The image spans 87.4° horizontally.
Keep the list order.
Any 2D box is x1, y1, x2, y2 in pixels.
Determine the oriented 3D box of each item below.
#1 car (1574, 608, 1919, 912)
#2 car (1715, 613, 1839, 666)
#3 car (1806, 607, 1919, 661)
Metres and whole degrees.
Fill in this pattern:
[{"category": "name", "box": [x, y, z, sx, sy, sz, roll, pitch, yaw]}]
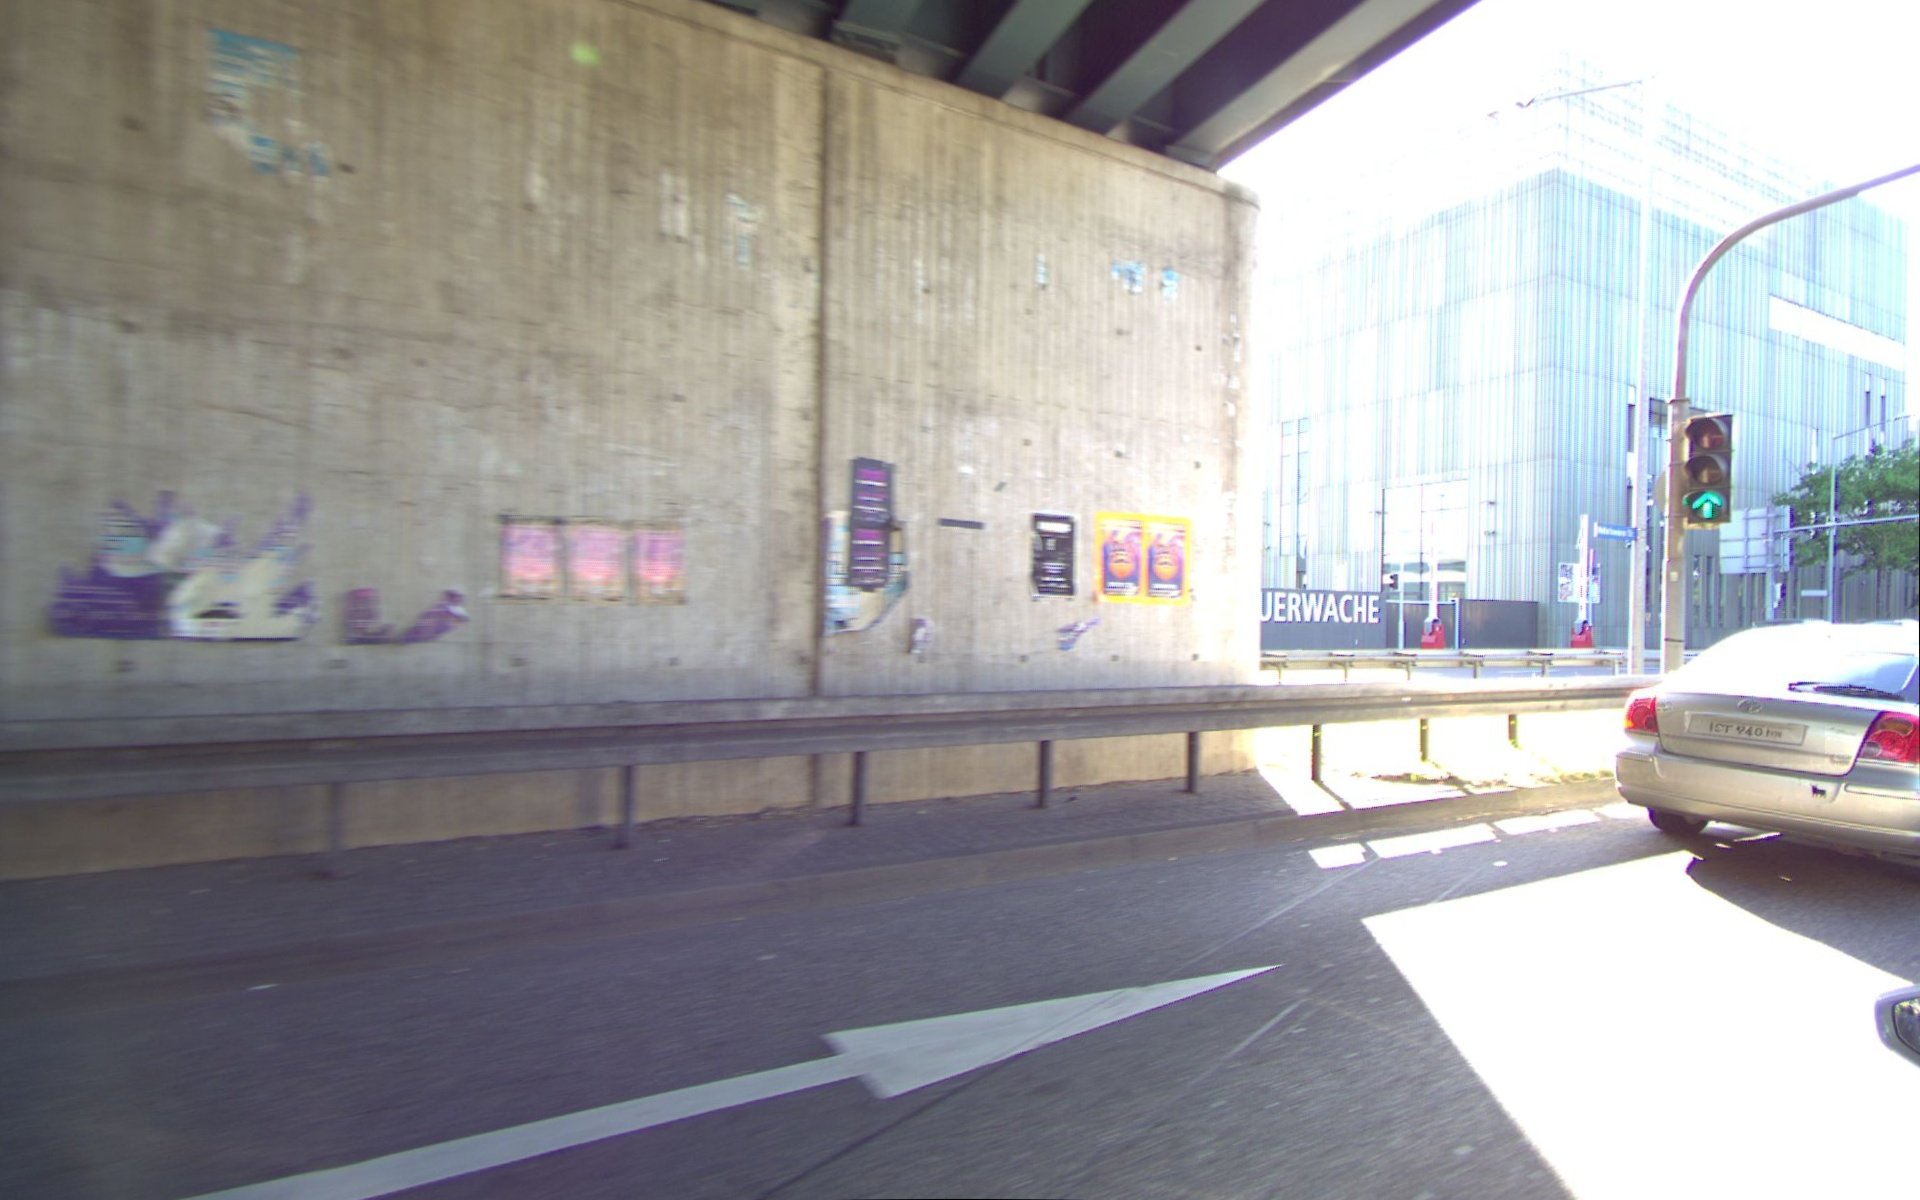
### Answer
[{"category": "car", "box": [6.258, 0.881, 6.792, 4.267, 1.499, 1.725, 2, -1, -29]}, {"category": "car", "box": [28.337, 1.386, 34.814, 4.574, 1.760, 1.817, 2, -3, -30]}, {"category": "car", "box": [29.197, 1.117, 32.117, 4.475, 1.646, 1.817, 2, -3, -30]}]
